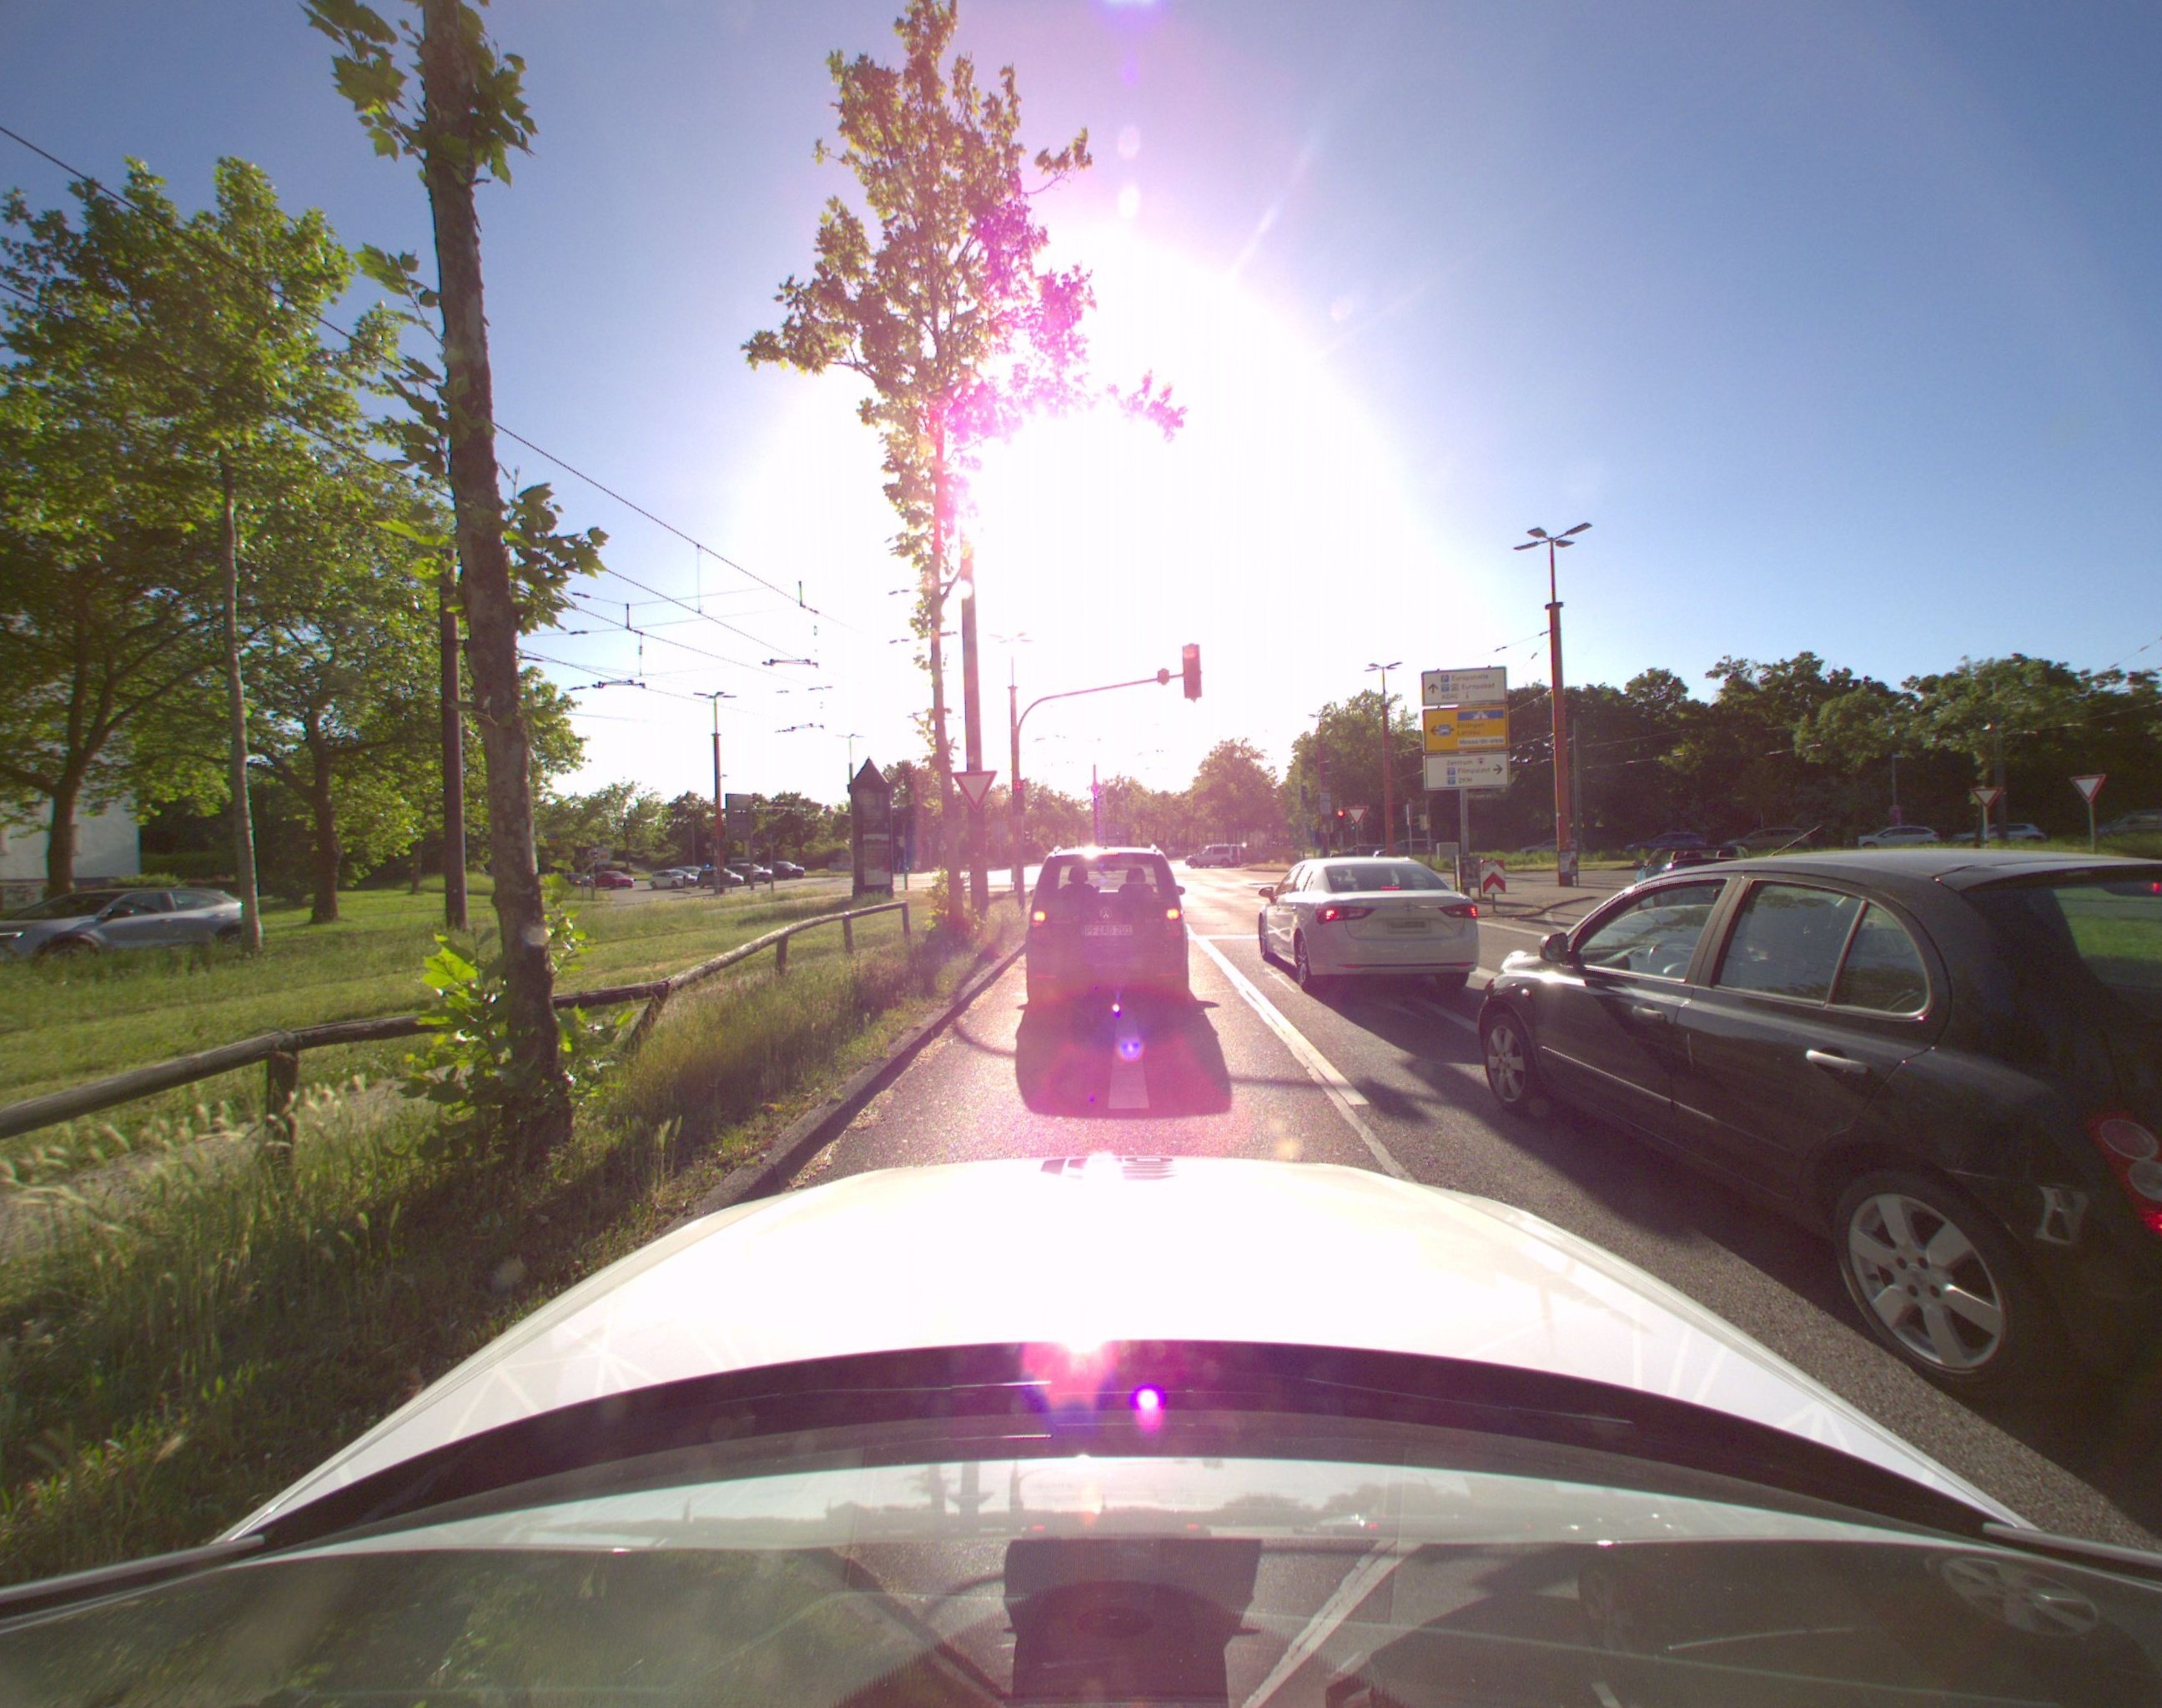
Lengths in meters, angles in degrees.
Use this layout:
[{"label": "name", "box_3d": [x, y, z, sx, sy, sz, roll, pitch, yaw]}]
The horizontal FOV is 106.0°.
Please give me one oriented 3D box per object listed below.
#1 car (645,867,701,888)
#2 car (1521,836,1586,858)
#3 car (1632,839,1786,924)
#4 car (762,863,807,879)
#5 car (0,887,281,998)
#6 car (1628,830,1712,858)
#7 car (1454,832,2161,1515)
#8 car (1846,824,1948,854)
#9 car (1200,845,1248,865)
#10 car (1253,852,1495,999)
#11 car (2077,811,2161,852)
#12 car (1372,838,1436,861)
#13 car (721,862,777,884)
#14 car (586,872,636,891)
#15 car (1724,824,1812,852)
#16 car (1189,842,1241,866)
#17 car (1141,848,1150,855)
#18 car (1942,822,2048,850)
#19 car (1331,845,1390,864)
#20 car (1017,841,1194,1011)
[{"label": "car", "box_3d": [-32.395, 1.873, 64.627, 4.135, 1.612, 1.880, -2, 0, 27]}, {"label": "car", "box_3d": [33.204, -0.476, 57.297, 3.926, 1.441, 1.697, 0, -1, 29]}, {"label": "car", "box_3d": [12.297, 0.467, 16.224, 1.717, 1.450, 4.157, -2, 0, 28]}, {"label": "car", "box_3d": [-26.514, 1.537, 72.872, 3.948, 1.330, 1.709, -2, 0, 33]}, {"label": "car", "box_3d": [-17.245, 1.446, 14.403, 1.799, 1.522, 4.332, -2, 0, 1]}, {"label": "car", "box_3d": [37.233, -0.610, 51.585, 4.080, 1.598, 1.840, -2, 0, 29]}, {"label": "car", "box_3d": [3.231, 0.694, 3.580, 1.647, 1.500, 3.617, -1, 0, 2]}, {"label": "car", "box_3d": [46.544, -0.837, 46.551, 3.782, 1.523, 1.706, -2, 0, 31]}, {"label": "car", "box_3d": [12.143, 0.085, 69.126, 3.608, 1.655, 1.690, 0, -1, 27]}, {"label": "car", "box_3d": [3.327, 0.713, 10.135, 1.713, 1.438, 4.202, -1, 0, 3]}, {"label": "car", "box_3d": [55.021, -1.195, 41.780, 4.526, 2.013, 2.013, -2, 0, 33]}, {"label": "car", "box_3d": [23.525, -0.330, 59.322, 4.139, 1.644, 1.770, 0, -1, 28]}, {"label": "car", "box_3d": [-26.604, 1.540, 65.238, 3.950, 1.644, 2.012, -2, 0, 26]}, {"label": "car", "box_3d": [-39.368, 2.321, 68.219, 3.949, 1.513, 1.743, -2, 0, 27]}, {"label": "car", "box_3d": [44.117, -1.013, 52.415, 4.080, 1.644, 1.864, -2, 0, 31]}, {"label": "car", "box_3d": [10.851, 0.010, 65.954, 3.797, 1.890, 1.774, 0, -1, 25]}, {"label": "car", "box_3d": [14.968, -0.527, 189.388, 1.904, 1.635, 4.010, 0, 0, 9]}, {"label": "car", "box_3d": [52.320, -1.011, 46.721, 3.700, 1.473, 1.610, -2, 0, 28]}, {"label": "car", "box_3d": [21.934, 0.055, 63.885, 4.082, 1.511, 1.834, 0, -1, 28]}, {"label": "car", "box_3d": [0.291, 0.718, 9.931, 1.694, 1.621, 3.898, -2, 0, 1]}]
